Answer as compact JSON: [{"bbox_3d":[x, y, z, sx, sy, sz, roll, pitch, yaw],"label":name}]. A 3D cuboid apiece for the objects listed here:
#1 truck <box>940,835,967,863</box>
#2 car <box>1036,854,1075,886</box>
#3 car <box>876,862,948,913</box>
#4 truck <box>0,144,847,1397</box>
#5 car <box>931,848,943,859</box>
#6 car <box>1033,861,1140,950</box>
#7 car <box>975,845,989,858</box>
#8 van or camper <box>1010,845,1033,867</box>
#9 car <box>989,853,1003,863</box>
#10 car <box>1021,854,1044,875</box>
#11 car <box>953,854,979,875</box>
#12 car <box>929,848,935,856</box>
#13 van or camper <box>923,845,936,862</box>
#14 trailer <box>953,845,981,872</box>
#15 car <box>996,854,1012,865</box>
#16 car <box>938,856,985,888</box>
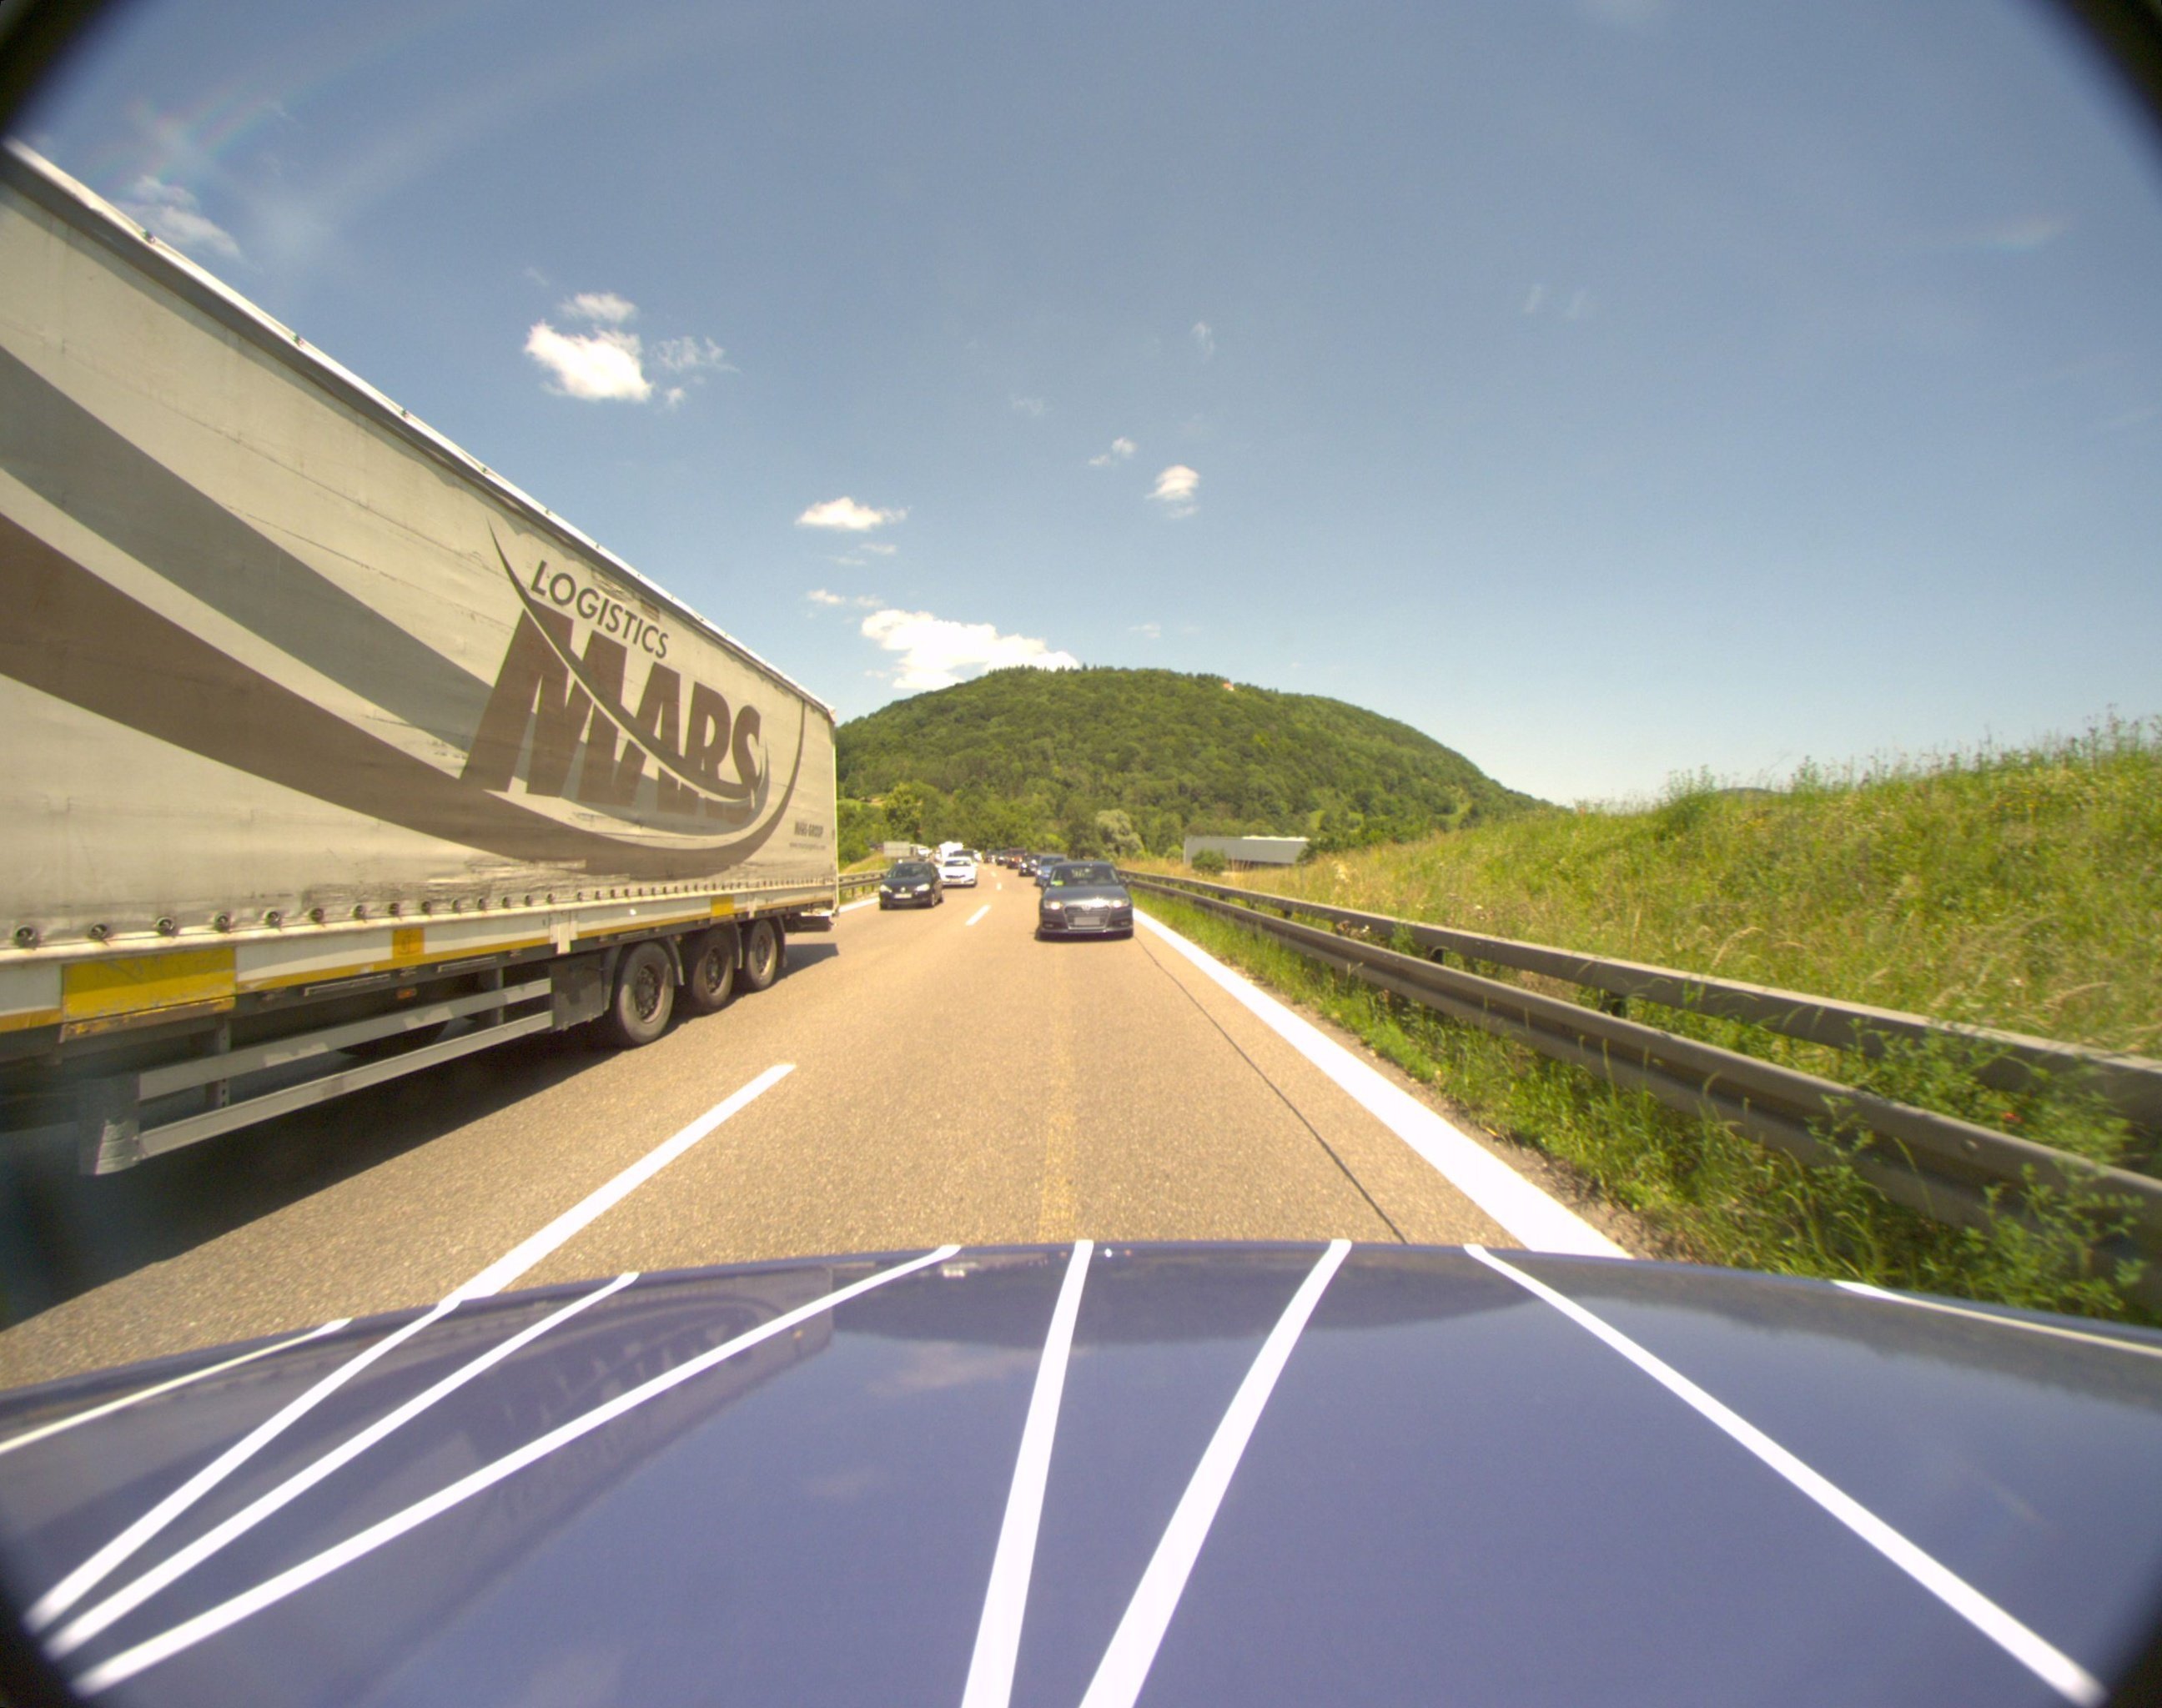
[{"bbox_3d":[-15.557,-0.604,92.342,2.605,3.089,6.850,-4,1,-13],"label":"truck"},{"bbox_3d":[-1.287,0.747,36.973,1.696,1.422,3.461,-2,0,-5],"label":"car"},{"bbox_3d":[-5.359,1.015,24.489,1.696,1.414,3.837,-2,0,-4],"label":"car"},{"bbox_3d":[-4.940,-0.297,5.225,2.733,4.044,13.736,-1,1,-2],"label":"truck"},{"bbox_3d":[-21.261,-0.008,112.195,1.700,1.523,3.676,-4,1,-11],"label":"car"},{"bbox_3d":[-0.031,0.898,14.918,1.756,1.382,4.053,-2,1,-4],"label":"car"},{"bbox_3d":[-14.266,-0.357,109.197,1.532,1.627,3.415,-4,1,-12],"label":"car"},{"bbox_3d":[-5.232,0.164,66.802,1.818,1.855,3.611,-2,0,-7],"label":"van or camper"},{"bbox_3d":[-10.414,0.447,92.899,1.492,1.102,3.211,-2,1,-10],"label":"car"},{"bbox_3d":[-3.185,0.649,49.927,1.287,1.305,3.451,-2,0,-6],"label":"car"},{"bbox_3d":[-7.918,0.684,52.507,1.489,1.375,3.736,1,0,-5],"label":"car"},{"bbox_3d":[-30.189,-0.386,153.883,1.246,1.470,2.957,-4,1,-11],"label":"car"},{"bbox_3d":[-27.255,-0.146,136.504,1.911,3.010,4.868,-1,0,-14],"label":"van or camper"},{"bbox_3d":[-8.452,0.292,56.371,2.000,1.958,3.996,0,1,-9],"label":"trailer"},{"bbox_3d":[-8.067,0.572,79.175,1.492,1.102,3.211,-2,1,-7],"label":"car"},{"bbox_3d":[-5.832,0.840,37.413,1.908,1.422,3.720,-2,0,-4],"label":"car"}]
